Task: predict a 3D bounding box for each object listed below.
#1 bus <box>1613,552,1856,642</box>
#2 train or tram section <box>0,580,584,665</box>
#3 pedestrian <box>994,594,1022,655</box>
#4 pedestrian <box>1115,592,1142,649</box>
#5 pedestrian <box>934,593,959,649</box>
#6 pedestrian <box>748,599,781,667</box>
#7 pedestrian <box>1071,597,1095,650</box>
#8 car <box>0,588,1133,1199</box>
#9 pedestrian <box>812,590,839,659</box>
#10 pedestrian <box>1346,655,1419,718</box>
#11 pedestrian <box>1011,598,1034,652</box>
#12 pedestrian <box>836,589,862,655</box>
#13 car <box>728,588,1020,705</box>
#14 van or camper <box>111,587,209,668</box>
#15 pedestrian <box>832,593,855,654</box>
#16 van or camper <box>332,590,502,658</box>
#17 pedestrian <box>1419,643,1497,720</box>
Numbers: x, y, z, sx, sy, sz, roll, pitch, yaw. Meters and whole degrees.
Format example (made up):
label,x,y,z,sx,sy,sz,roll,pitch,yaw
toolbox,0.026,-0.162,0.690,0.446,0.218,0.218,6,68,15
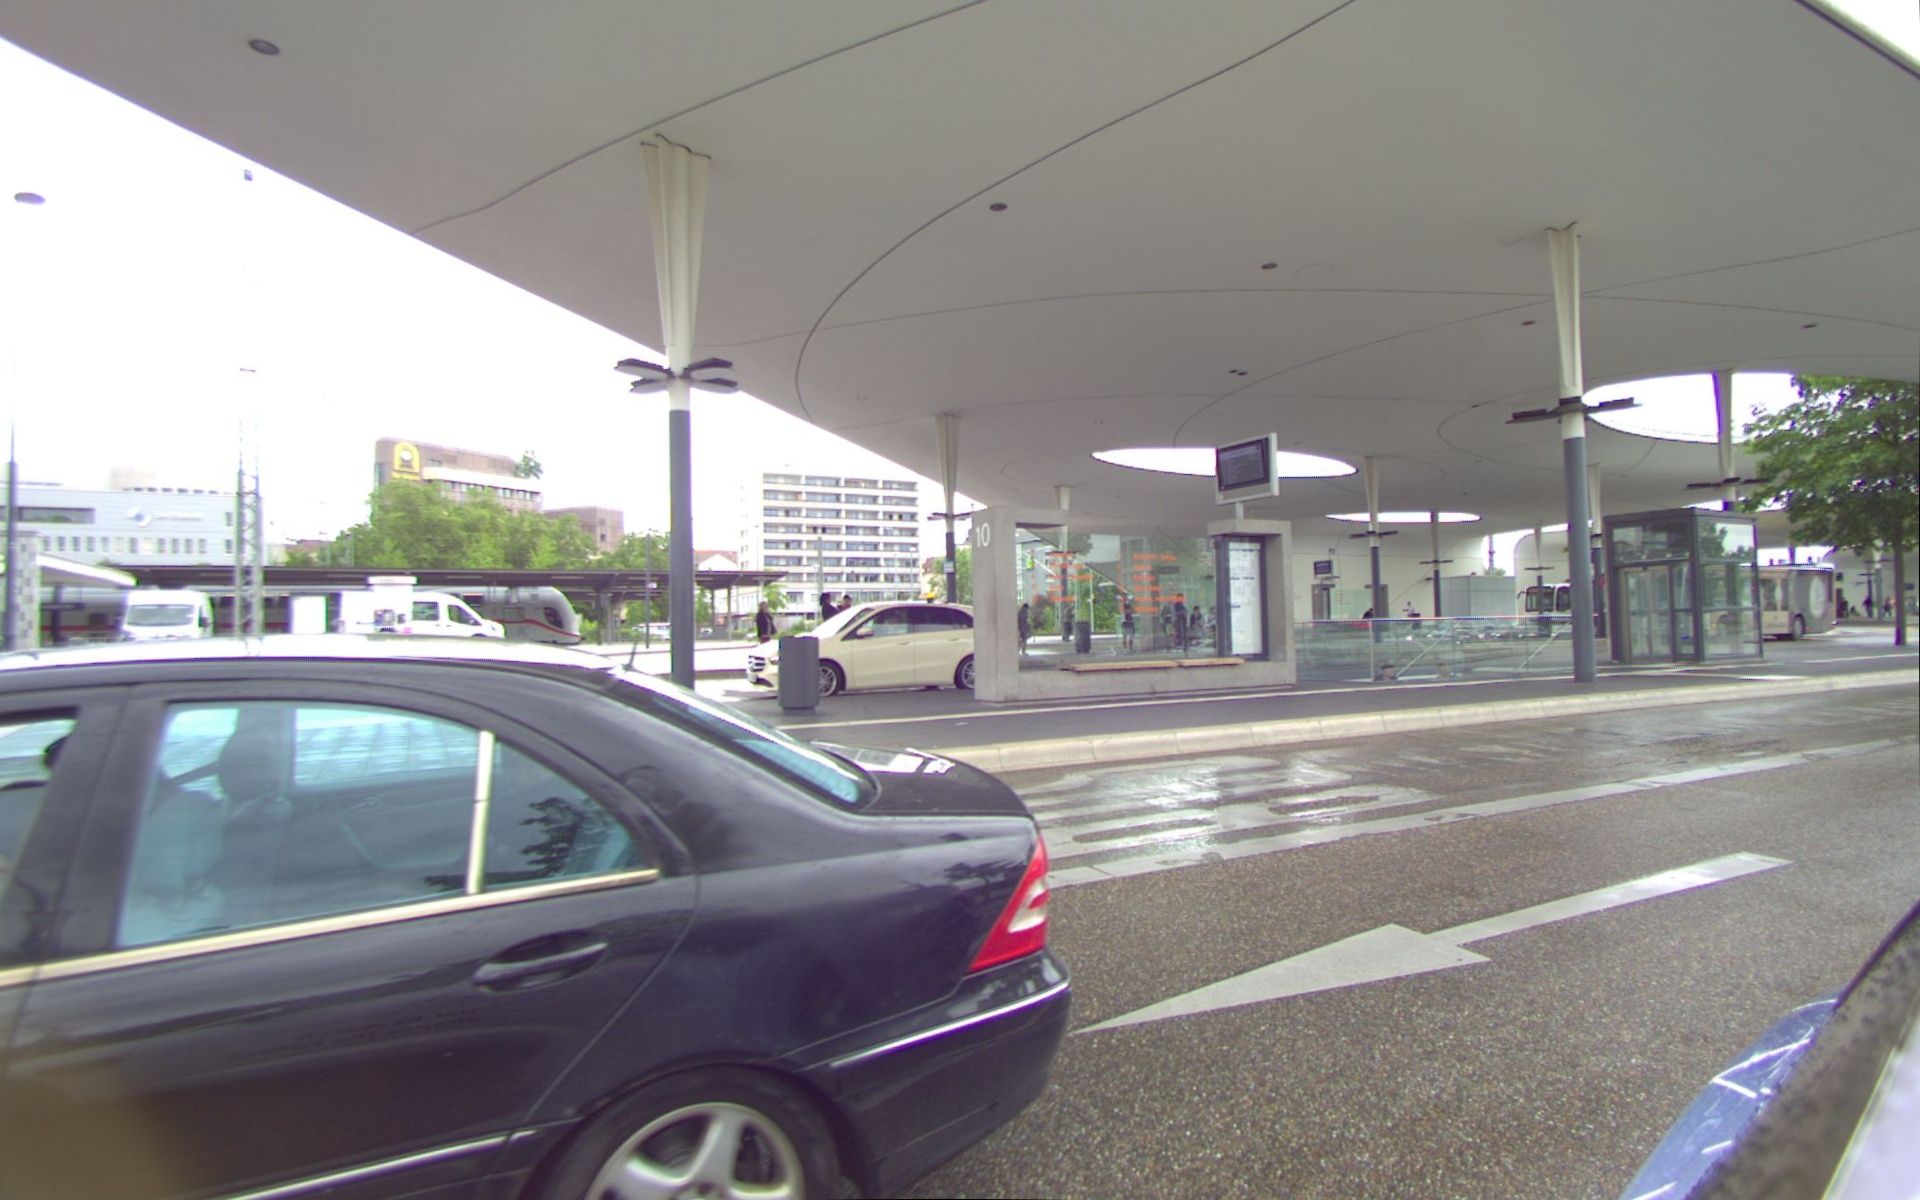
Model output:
label,x,y,z,sx,sy,sz,roll,pitch,yaw
bus,30.091,-0.192,39.086,11.680,3.121,2.882,-1,1,-28
train or tram section,-38.218,1.021,61.167,28.715,4.234,4.612,-1,1,-28
pedestrian,1.215,0.606,25.700,0.524,1.533,0.480,0,-1,-24
pedestrian,4.596,0.550,27.572,0.524,1.533,0.480,0,0,-24
pedestrian,-0.375,0.576,27.960,0.554,1.533,0.480,0,-1,-24
pedestrian,-4.727,0.785,24.440,0.725,1.615,0.643,-1,0,-14
pedestrian,3.619,0.692,29.880,0.514,1.533,0.480,0,-1,-24
car,-1.943,0.737,2.099,4.360,1.484,1.703,-1,1,-26
pedestrian,-3.040,0.545,22.907,0.469,1.533,0.536,0,-1,-23
pedestrian,7.994,1.614,19.163,0.938,1.067,0.884,-1,1,-25
pedestrian,1.829,0.724,29.602,0.514,1.533,0.480,0,-1,-24
pedestrian,-2.607,0.512,23.776,0.469,1.533,0.536,0,-1,-23
car,-1.415,0.665,16.973,4.450,1.702,2.003,-1,1,-28
van or camper,-26.611,0.810,33.867,2.124,2.464,5.865,-1,1,-34
pedestrian,-2.967,0.582,25.736,0.471,1.533,0.534,-1,-1,7
van or camper,-21.238,0.862,39.840,5.745,2.464,2.003,-1,1,-28
pedestrian,9.139,1.472,18.575,0.938,1.291,0.884,-1,0,-25
